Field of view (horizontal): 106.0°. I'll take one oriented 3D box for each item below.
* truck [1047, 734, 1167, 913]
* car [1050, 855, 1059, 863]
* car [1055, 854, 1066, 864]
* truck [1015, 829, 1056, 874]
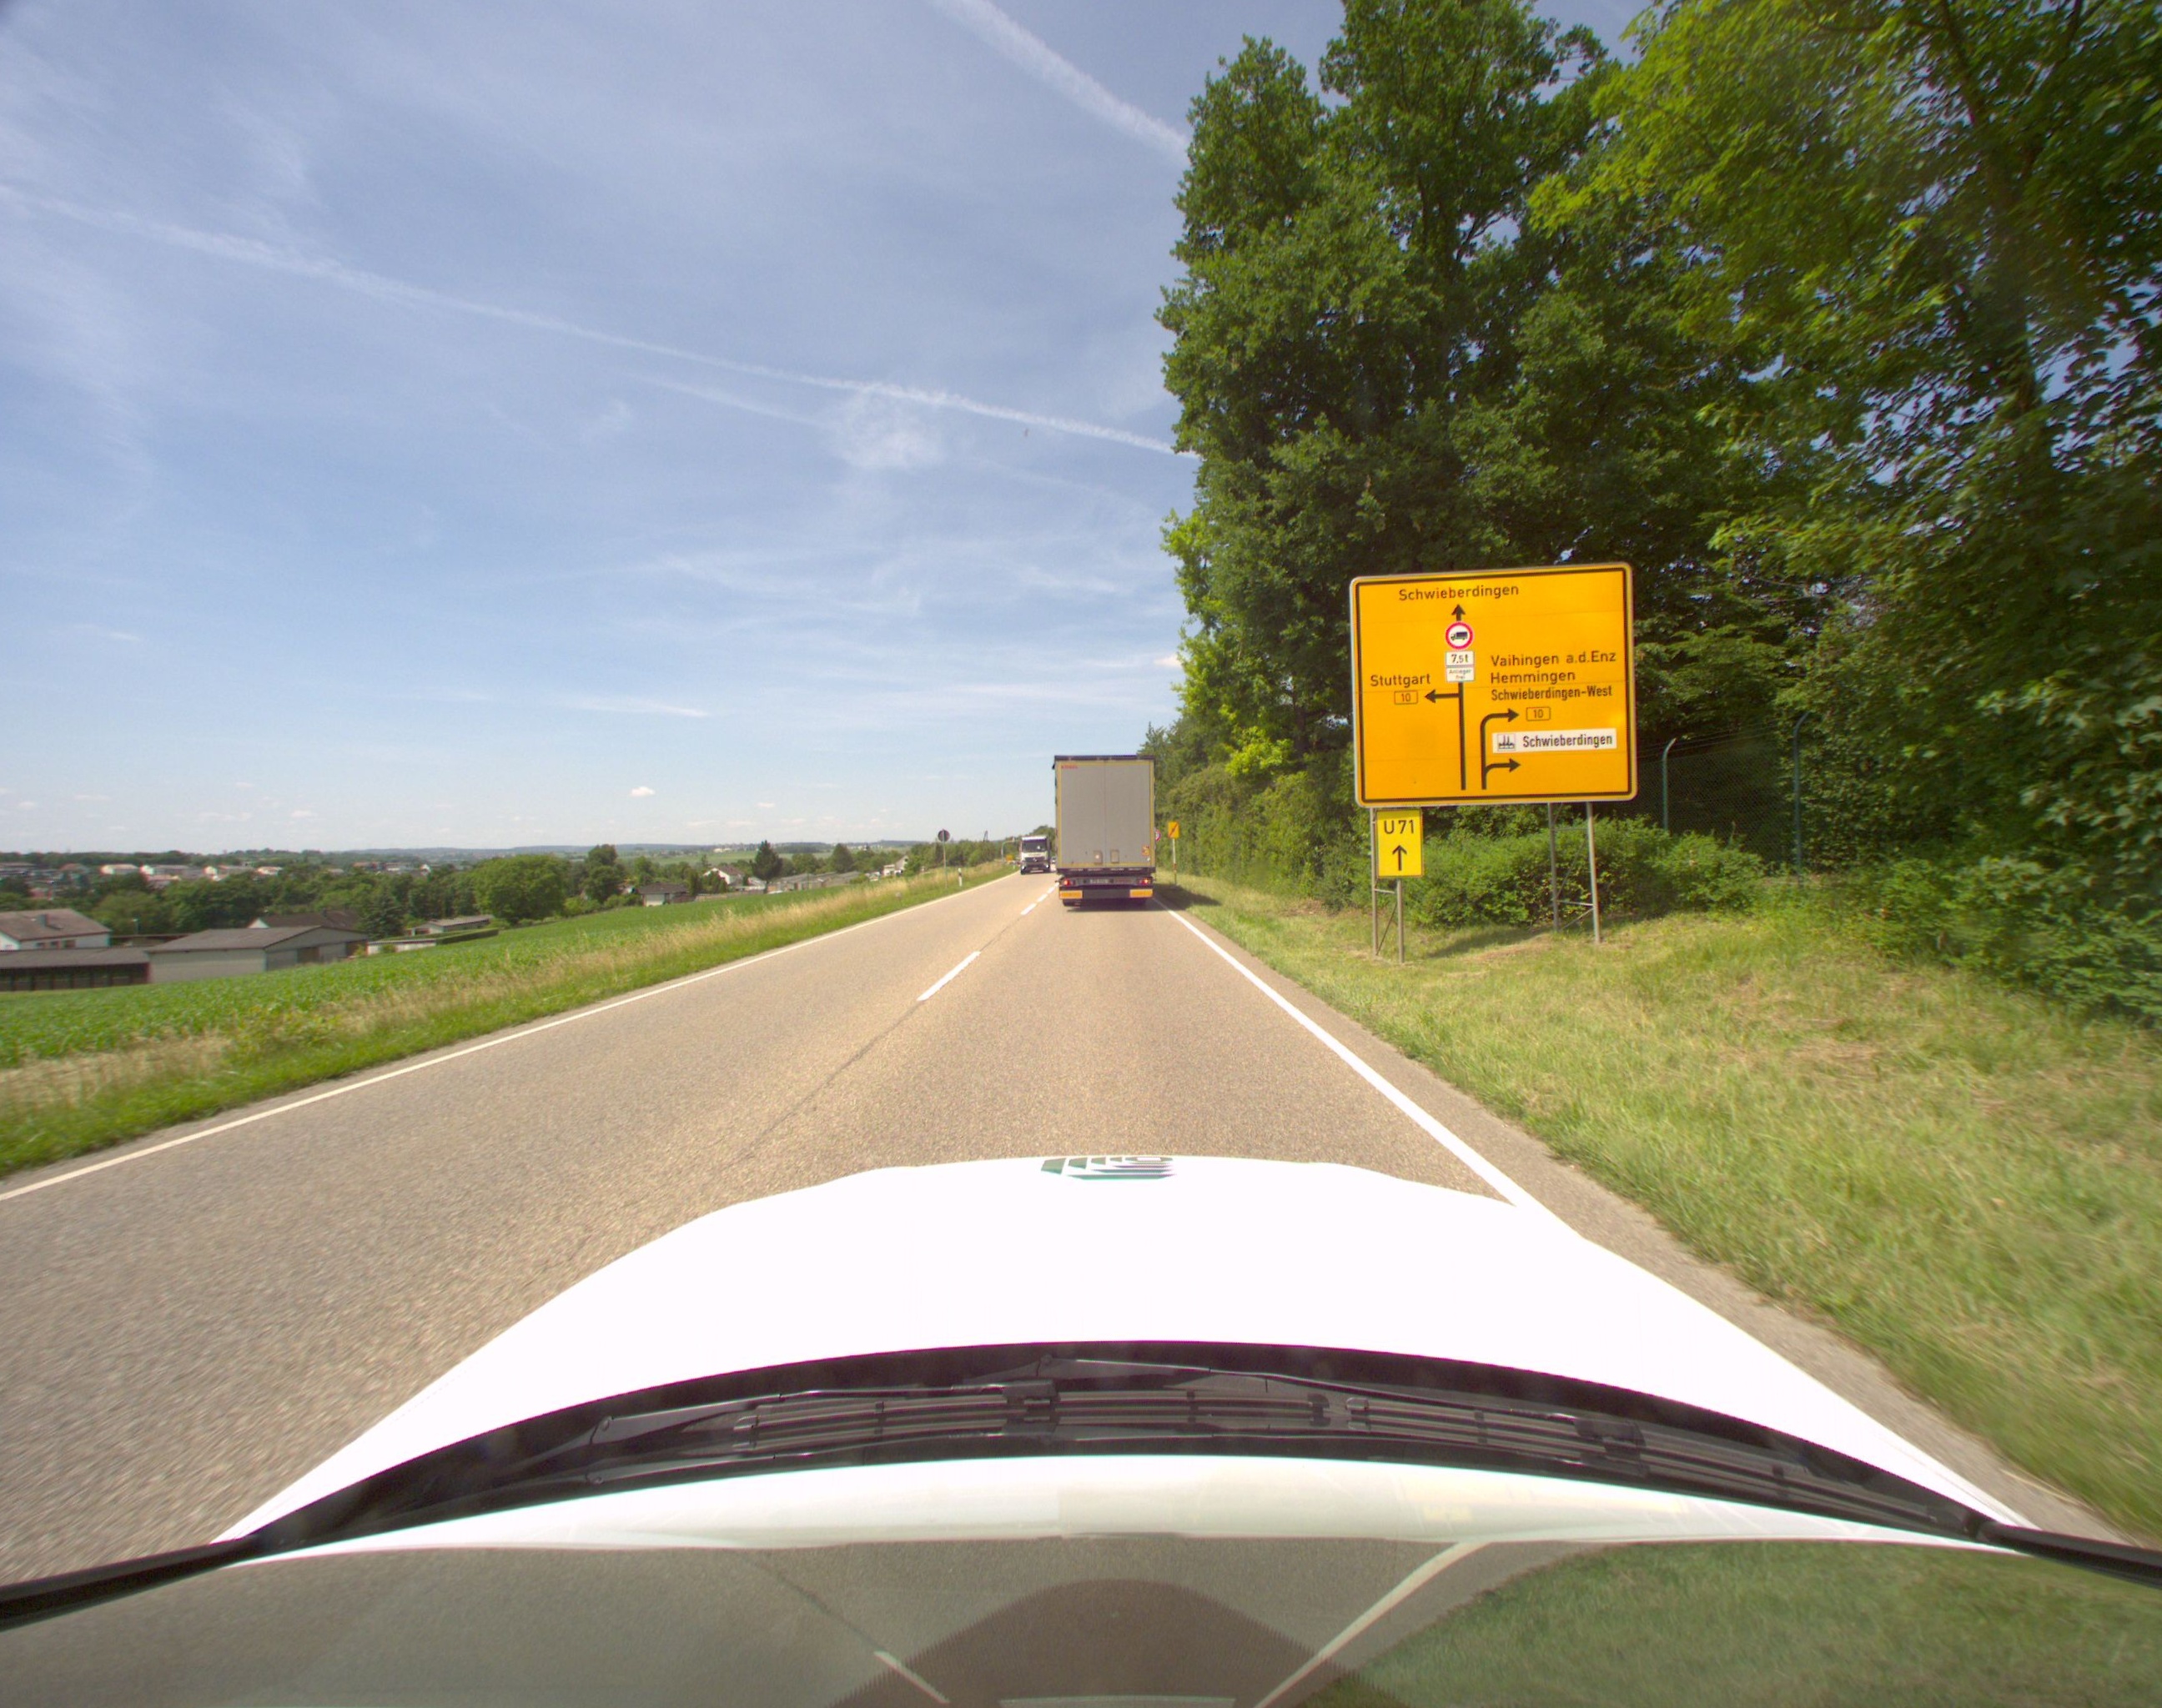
[{"bbox_3d":[0.562,-0.767,24.641,2.899,4.410,8.855,-1,0,-1],"label":"truck"},{"bbox_3d":[-6.431,1.226,194.115,1.888,1.777,4.380,-4,0,-4],"label":"car"},{"bbox_3d":[-4.498,1.034,178.239,2.167,2.013,4.520,-4,0,-4],"label":"car"},{"bbox_3d":[-3.931,-0.189,72.379,2.747,3.576,11.064,-4,0,0],"label":"truck"}]
